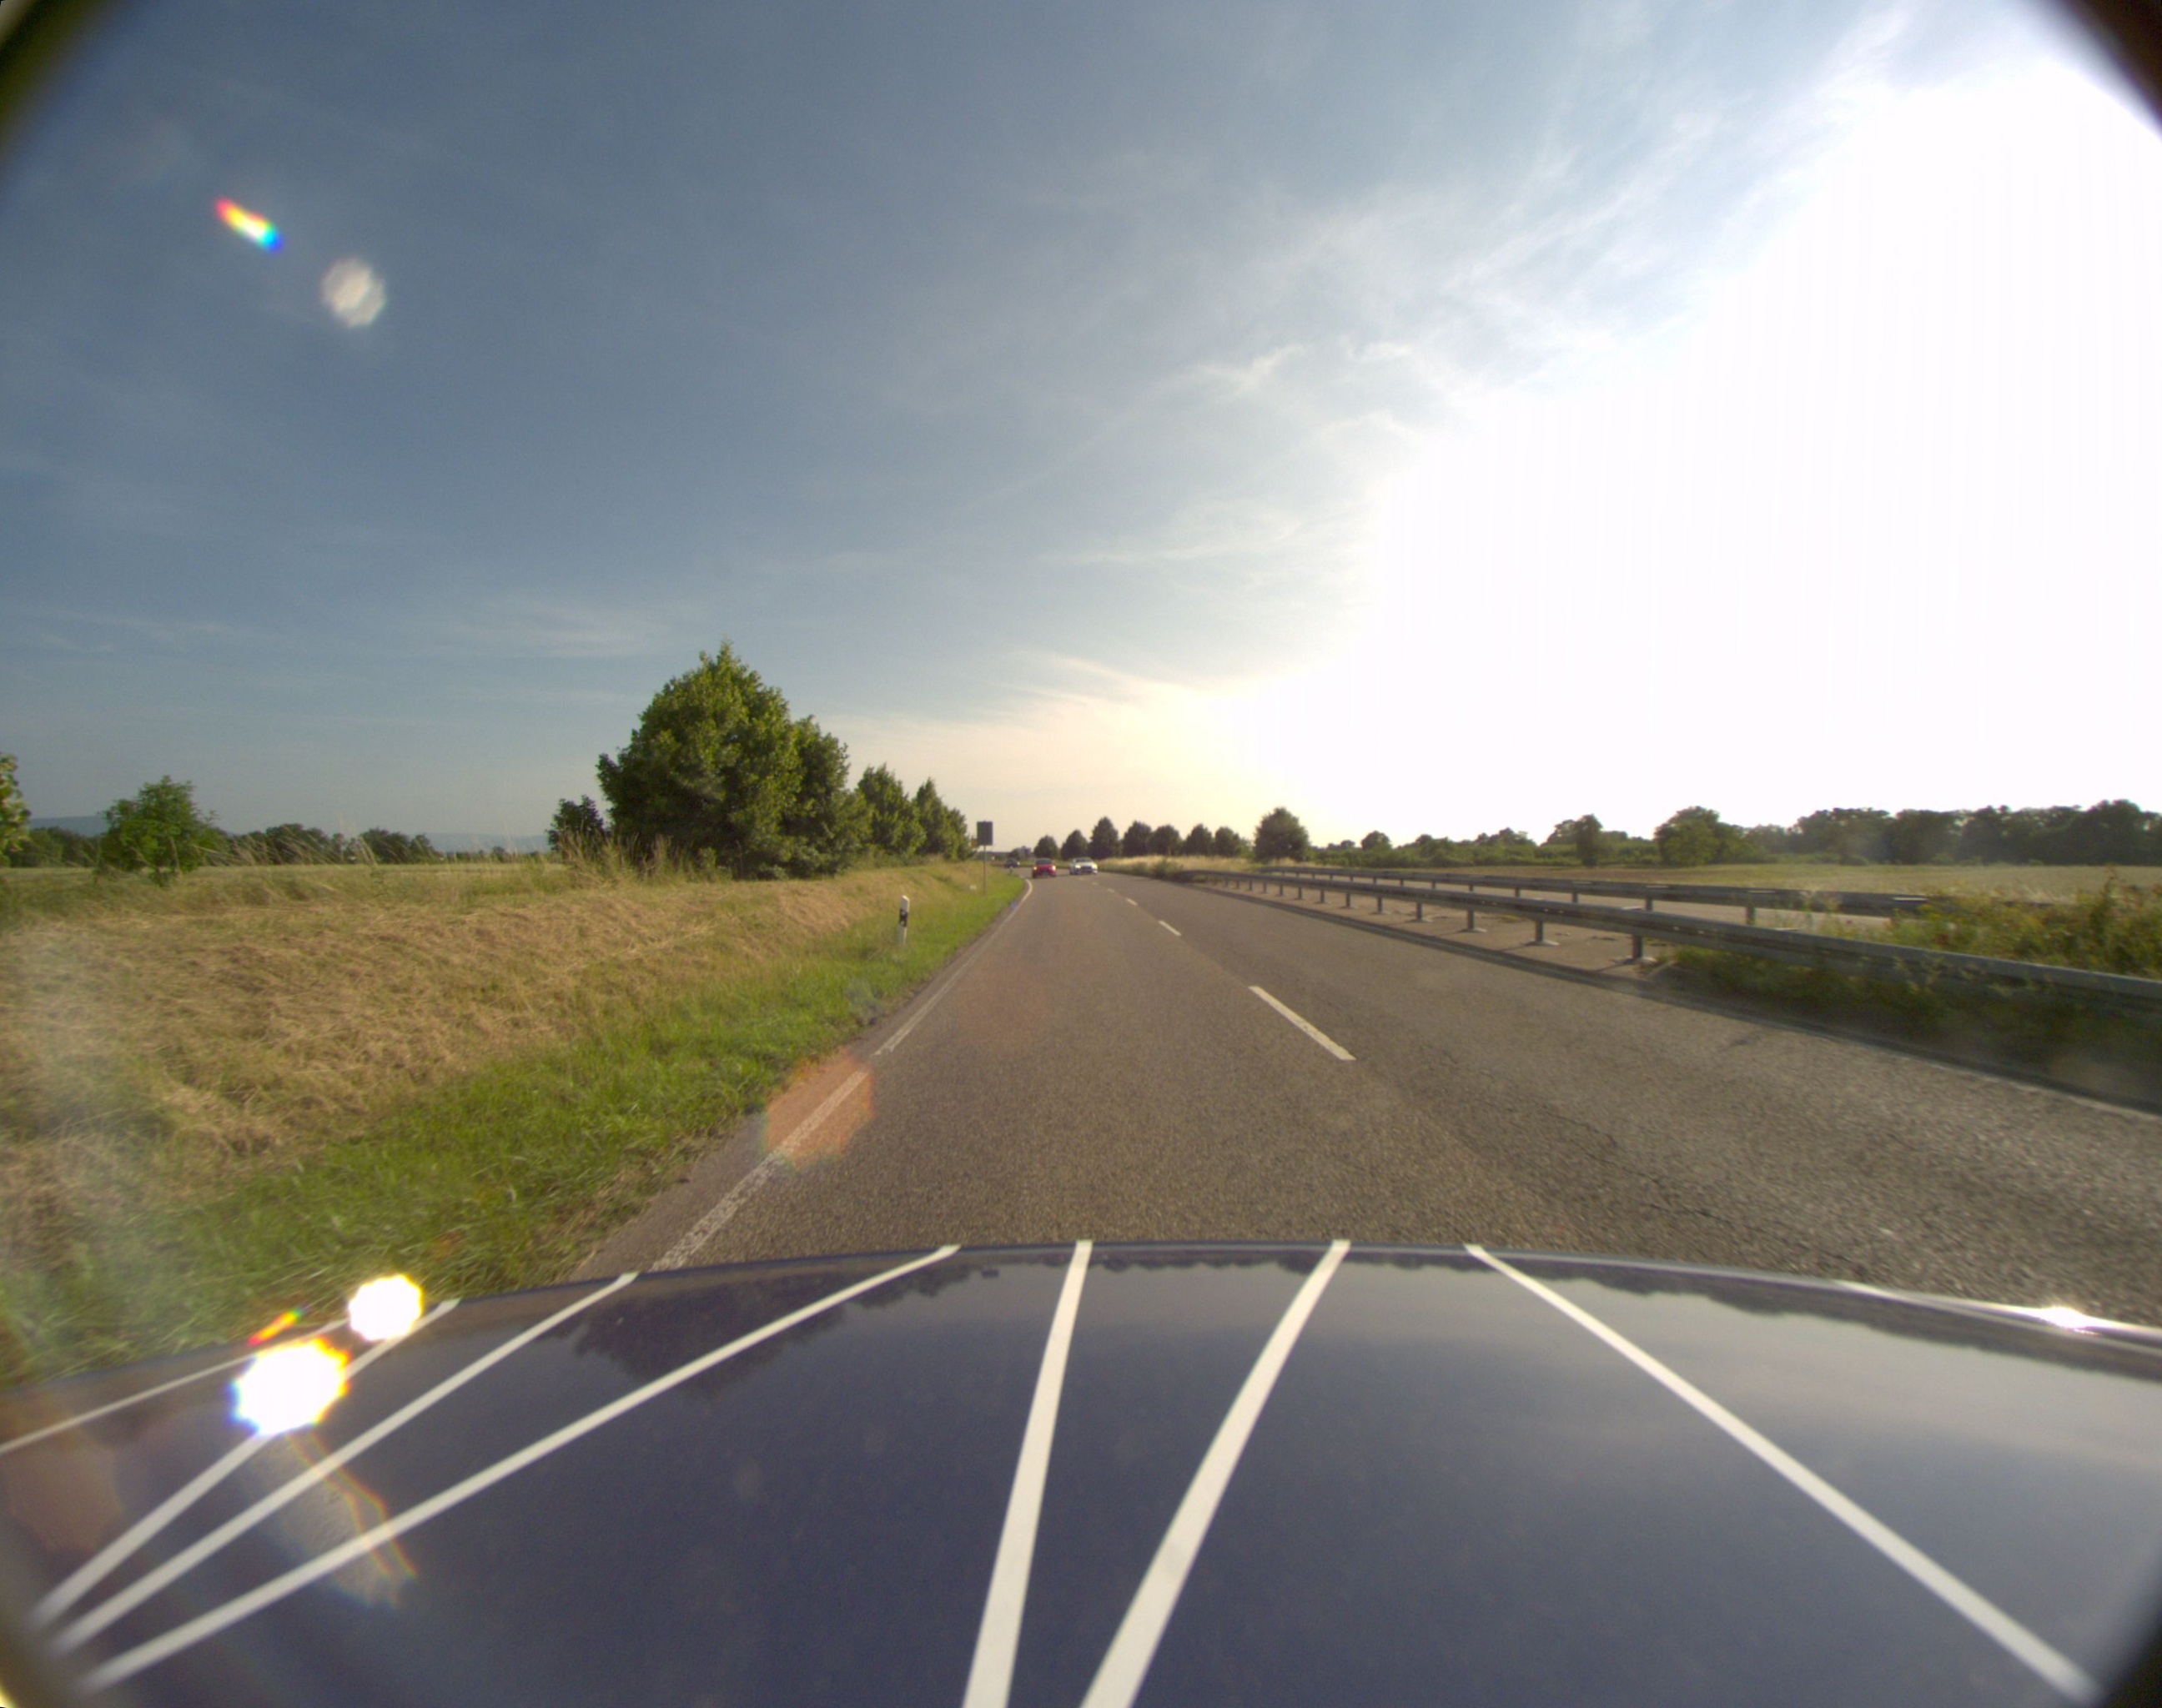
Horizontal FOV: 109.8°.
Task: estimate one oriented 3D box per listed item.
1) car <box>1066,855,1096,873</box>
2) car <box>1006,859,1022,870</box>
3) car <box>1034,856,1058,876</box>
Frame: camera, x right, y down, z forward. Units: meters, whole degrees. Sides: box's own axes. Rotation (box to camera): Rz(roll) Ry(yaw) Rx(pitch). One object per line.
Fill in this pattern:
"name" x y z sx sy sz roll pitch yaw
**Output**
"car" -0.041 0.849 63.820 1.877 1.390 4.201 -2 0 -9
"car" -10.062 1.558 113.428 1.753 1.521 3.995 -2 0 -13
"car" -2.772 0.905 59.543 1.666 1.455 3.952 -2 1 -6
